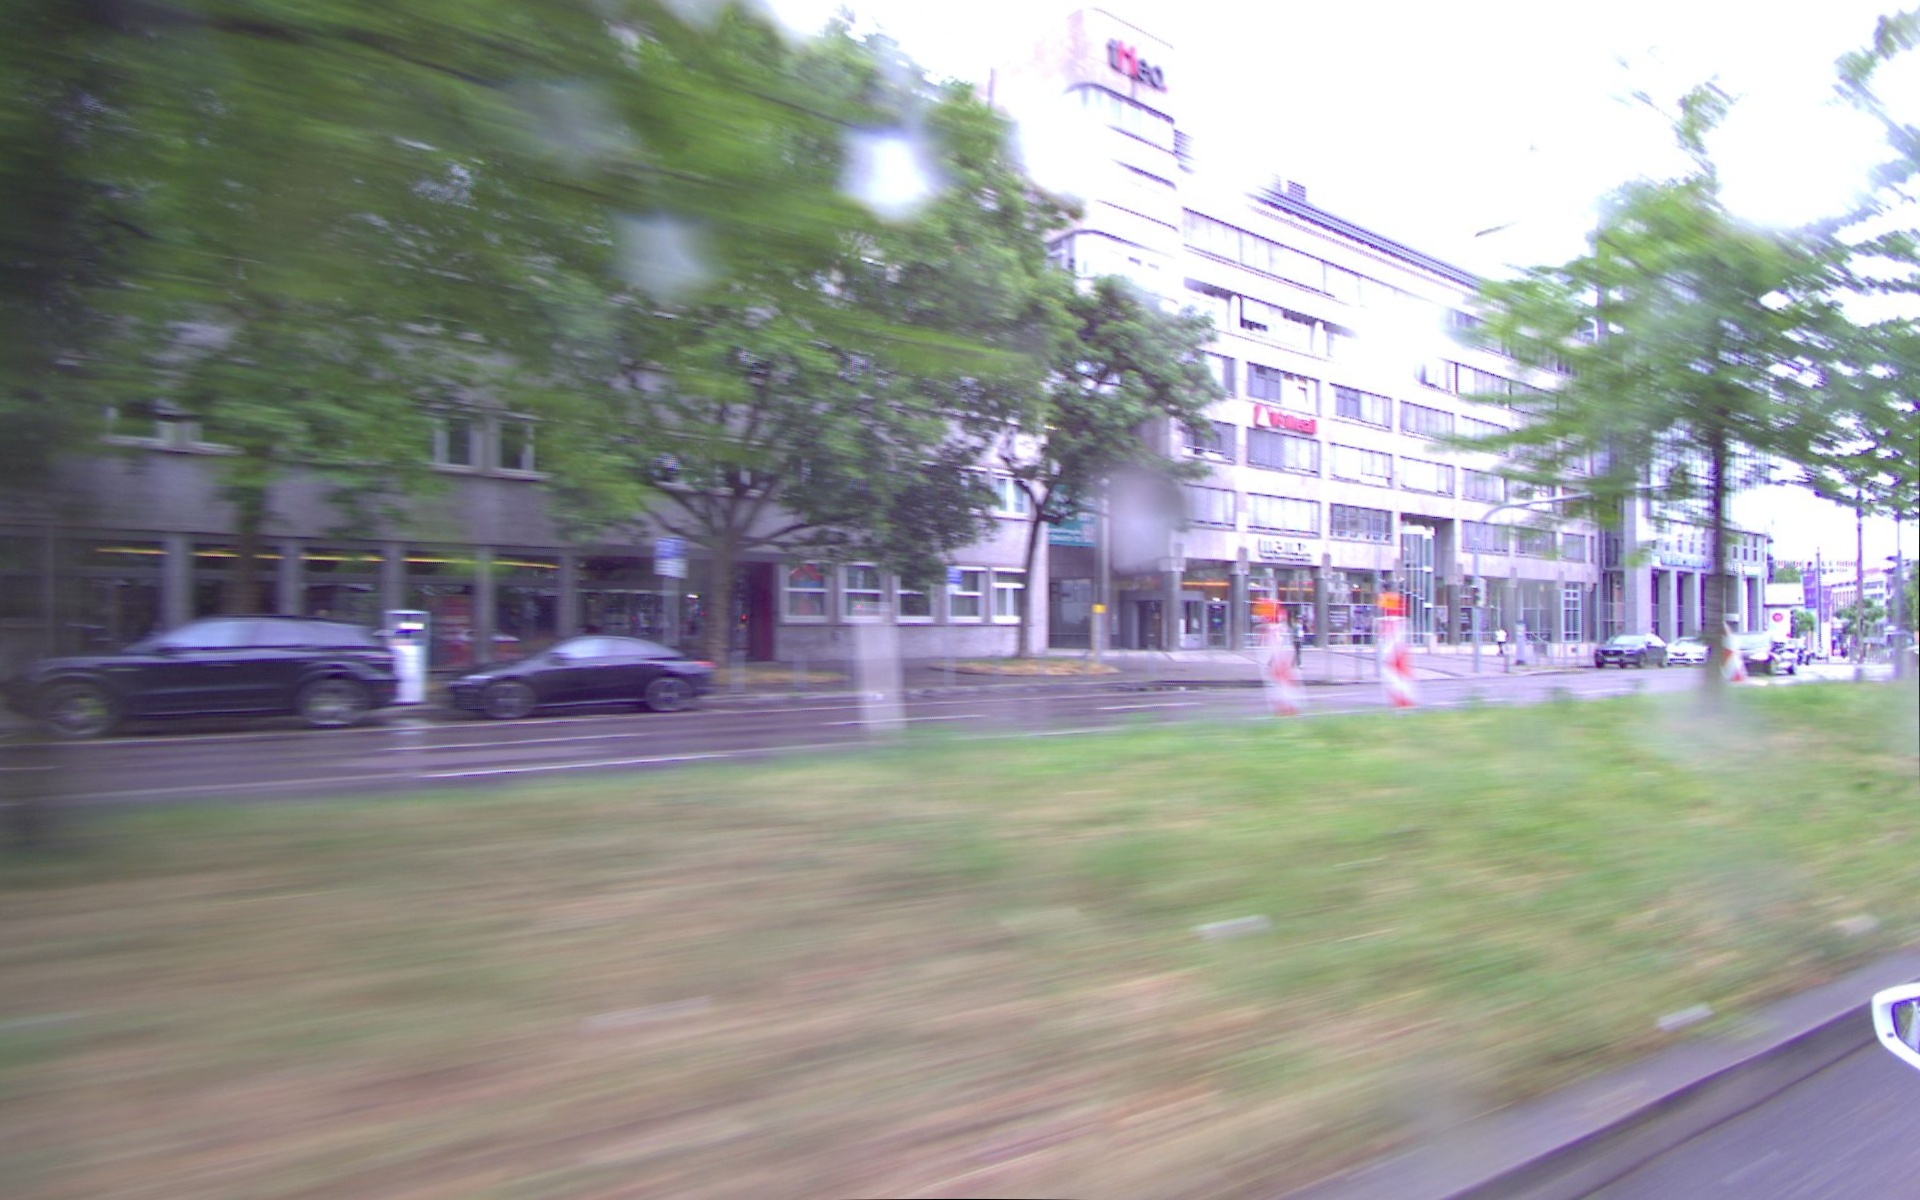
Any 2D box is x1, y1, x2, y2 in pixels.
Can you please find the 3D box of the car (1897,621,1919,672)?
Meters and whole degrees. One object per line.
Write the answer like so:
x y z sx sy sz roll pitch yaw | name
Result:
36.744 1.706 37.424 3.962 1.850 1.980 1 -3 -37 | car

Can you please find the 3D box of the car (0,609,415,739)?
-10.946 1.070 15.023 4.790 1.674 1.759 2 -4 -33 | car

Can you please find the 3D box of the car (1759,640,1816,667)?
49.530 3.196 60.138 3.964 1.568 1.795 3 -3 -38 | car

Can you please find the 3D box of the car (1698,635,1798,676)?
27.028 1.877 34.418 3.965 1.328 1.792 1 -3 -38 | car

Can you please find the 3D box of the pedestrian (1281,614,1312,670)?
11.961 1.484 35.743 0.667 1.943 0.840 1 -1 -24 | pedestrian

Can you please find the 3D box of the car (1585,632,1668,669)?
29.423 2.229 44.300 4.040 1.556 1.861 3 -3 -38 | car

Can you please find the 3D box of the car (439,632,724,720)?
-6.797 1.343 18.256 4.605 1.412 1.758 2 -4 -34 | car

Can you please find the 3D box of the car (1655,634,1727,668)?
35.520 2.488 48.770 3.964 1.568 1.795 3 -3 -38 | car

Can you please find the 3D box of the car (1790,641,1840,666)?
57.654 3.608 67.734 3.964 1.568 1.795 3 -3 -38 | car

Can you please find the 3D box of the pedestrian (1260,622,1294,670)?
11.186 1.602 35.461 0.668 1.667 0.991 1 -1 -25 | pedestrian

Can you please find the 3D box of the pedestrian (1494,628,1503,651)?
31.601 2.322 58.947 0.377 1.365 0.349 1 -1 -34 | pedestrian
